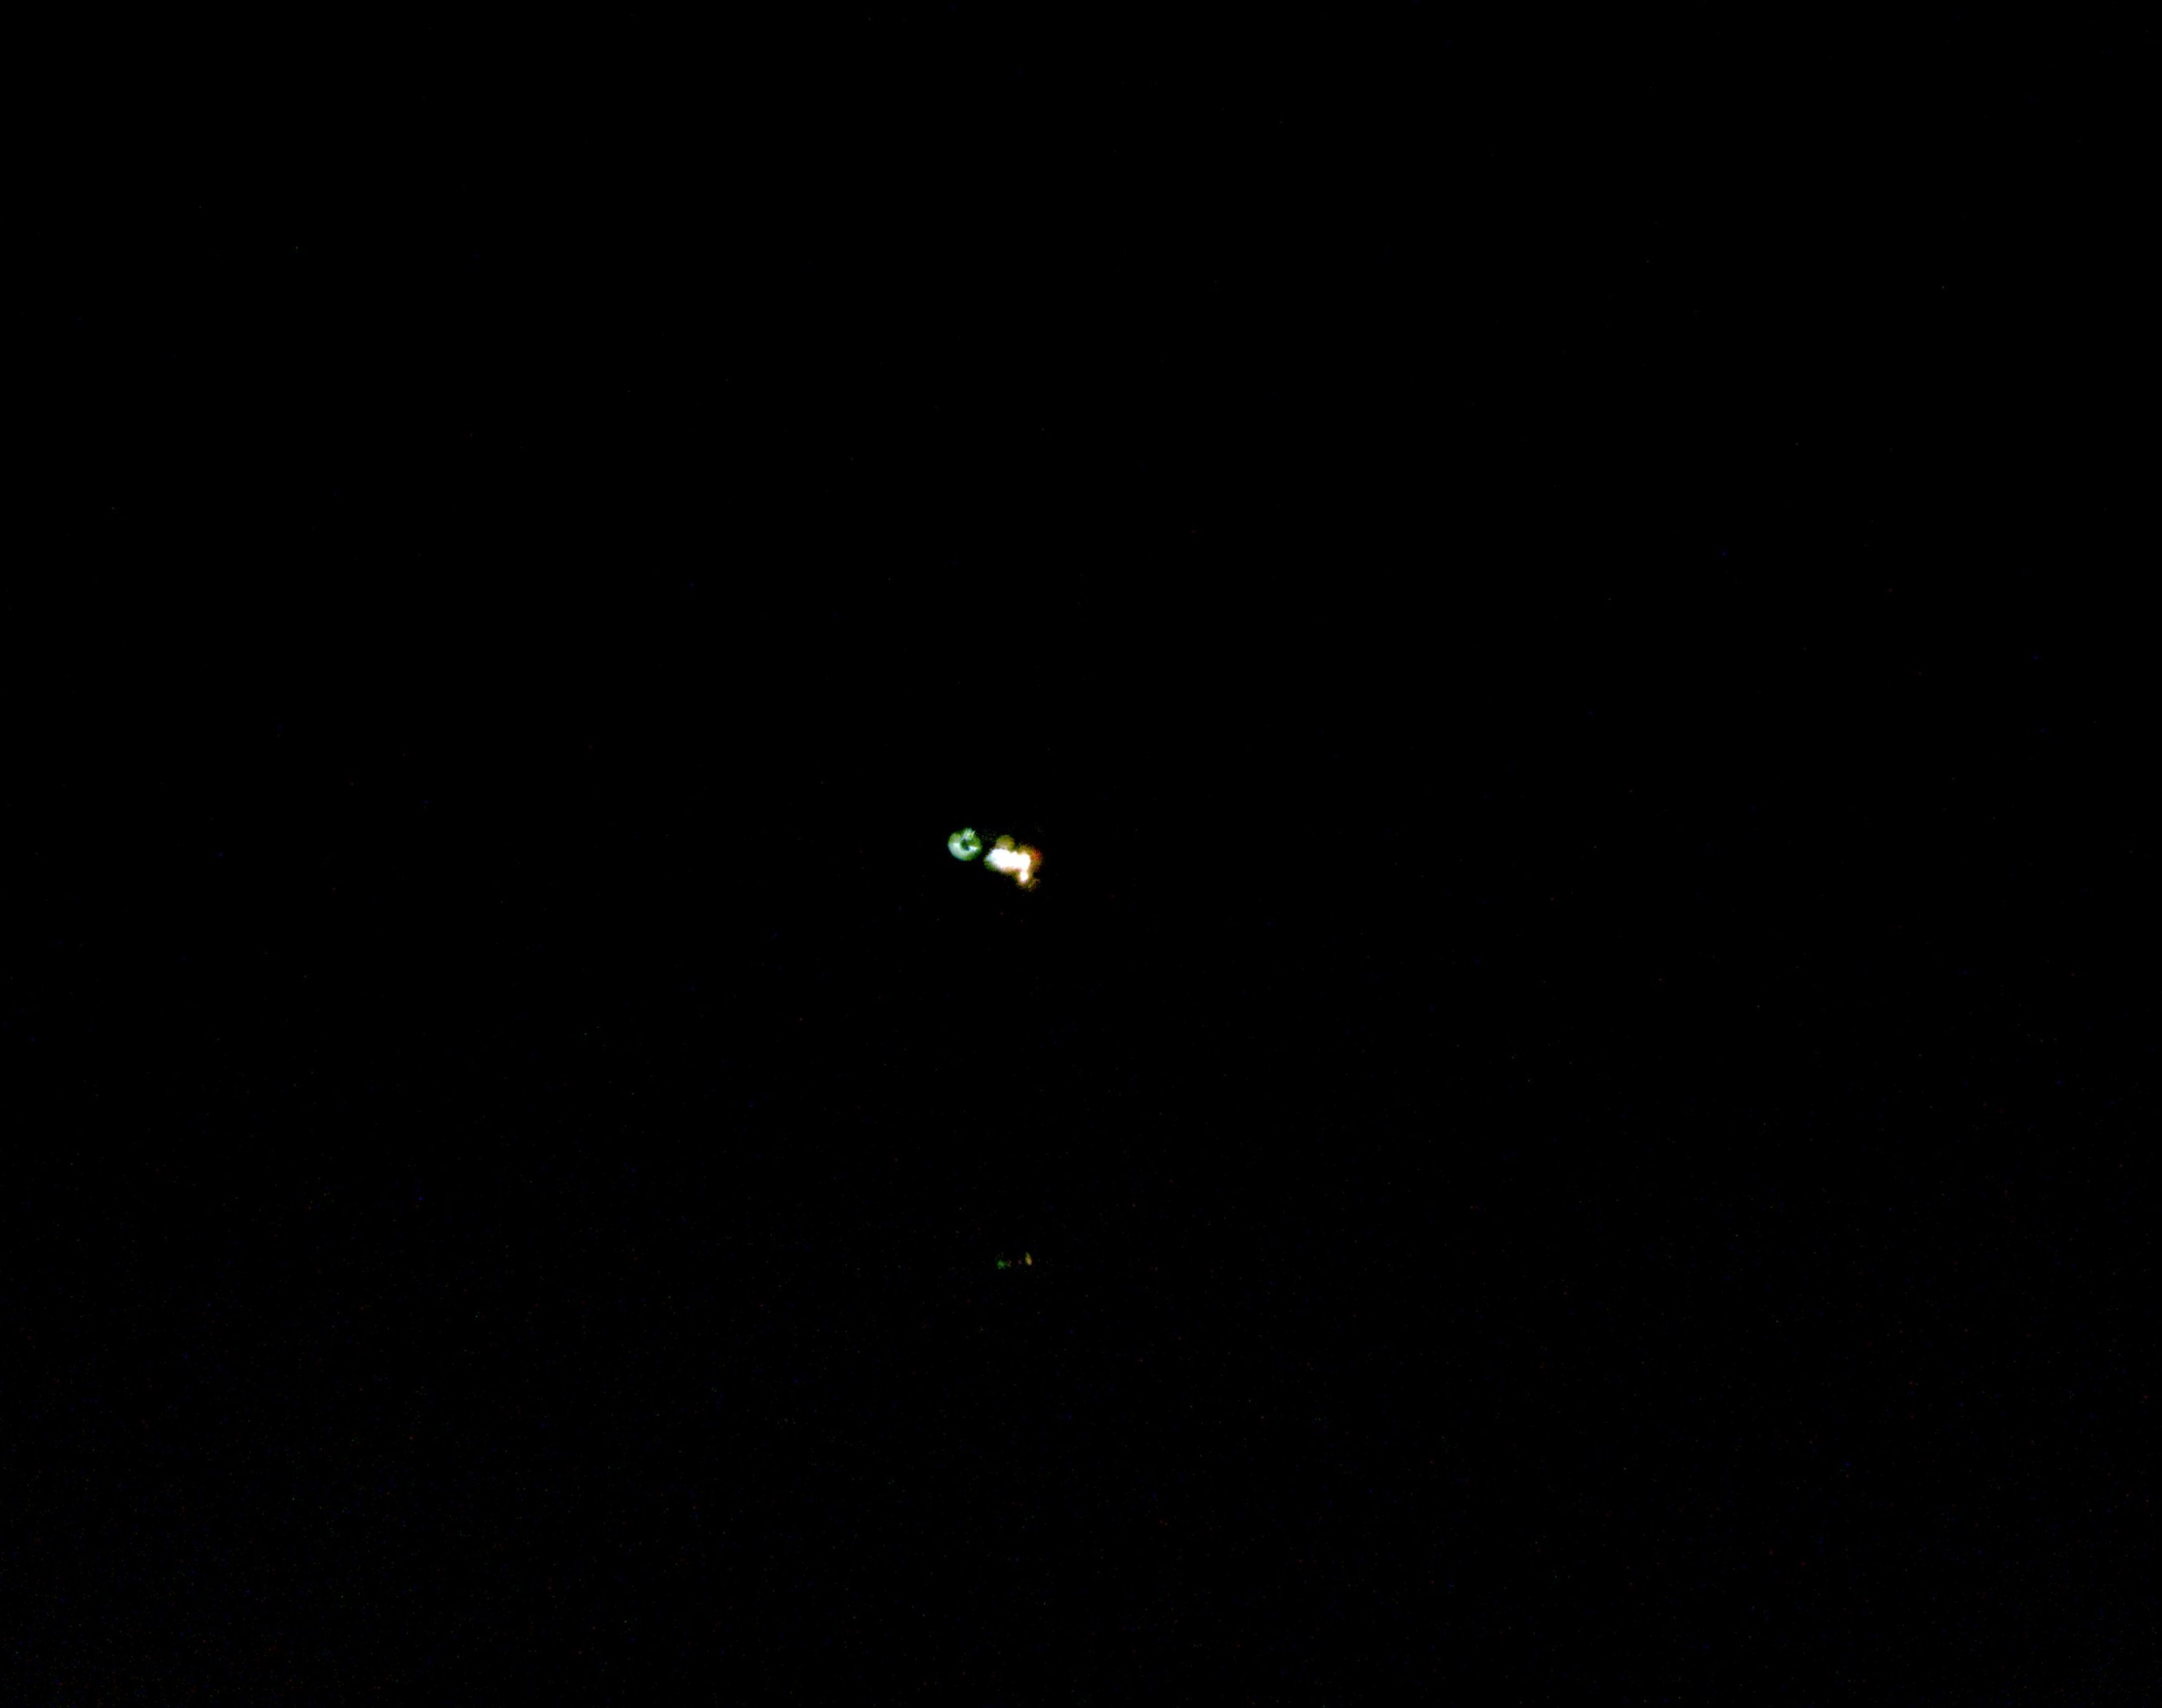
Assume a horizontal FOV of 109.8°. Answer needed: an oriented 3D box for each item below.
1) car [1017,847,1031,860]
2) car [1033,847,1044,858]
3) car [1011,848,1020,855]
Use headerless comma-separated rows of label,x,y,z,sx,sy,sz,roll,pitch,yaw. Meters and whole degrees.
car,-9.496,-0.105,125.874,2.000,2.002,3.995,-1,2,-9
car,-8.429,-0.288,150.504,1.999,2.002,4.272,-1,1,-6
car,-16.408,-0.656,189.439,2.000,1.615,3.997,-3,1,-7
